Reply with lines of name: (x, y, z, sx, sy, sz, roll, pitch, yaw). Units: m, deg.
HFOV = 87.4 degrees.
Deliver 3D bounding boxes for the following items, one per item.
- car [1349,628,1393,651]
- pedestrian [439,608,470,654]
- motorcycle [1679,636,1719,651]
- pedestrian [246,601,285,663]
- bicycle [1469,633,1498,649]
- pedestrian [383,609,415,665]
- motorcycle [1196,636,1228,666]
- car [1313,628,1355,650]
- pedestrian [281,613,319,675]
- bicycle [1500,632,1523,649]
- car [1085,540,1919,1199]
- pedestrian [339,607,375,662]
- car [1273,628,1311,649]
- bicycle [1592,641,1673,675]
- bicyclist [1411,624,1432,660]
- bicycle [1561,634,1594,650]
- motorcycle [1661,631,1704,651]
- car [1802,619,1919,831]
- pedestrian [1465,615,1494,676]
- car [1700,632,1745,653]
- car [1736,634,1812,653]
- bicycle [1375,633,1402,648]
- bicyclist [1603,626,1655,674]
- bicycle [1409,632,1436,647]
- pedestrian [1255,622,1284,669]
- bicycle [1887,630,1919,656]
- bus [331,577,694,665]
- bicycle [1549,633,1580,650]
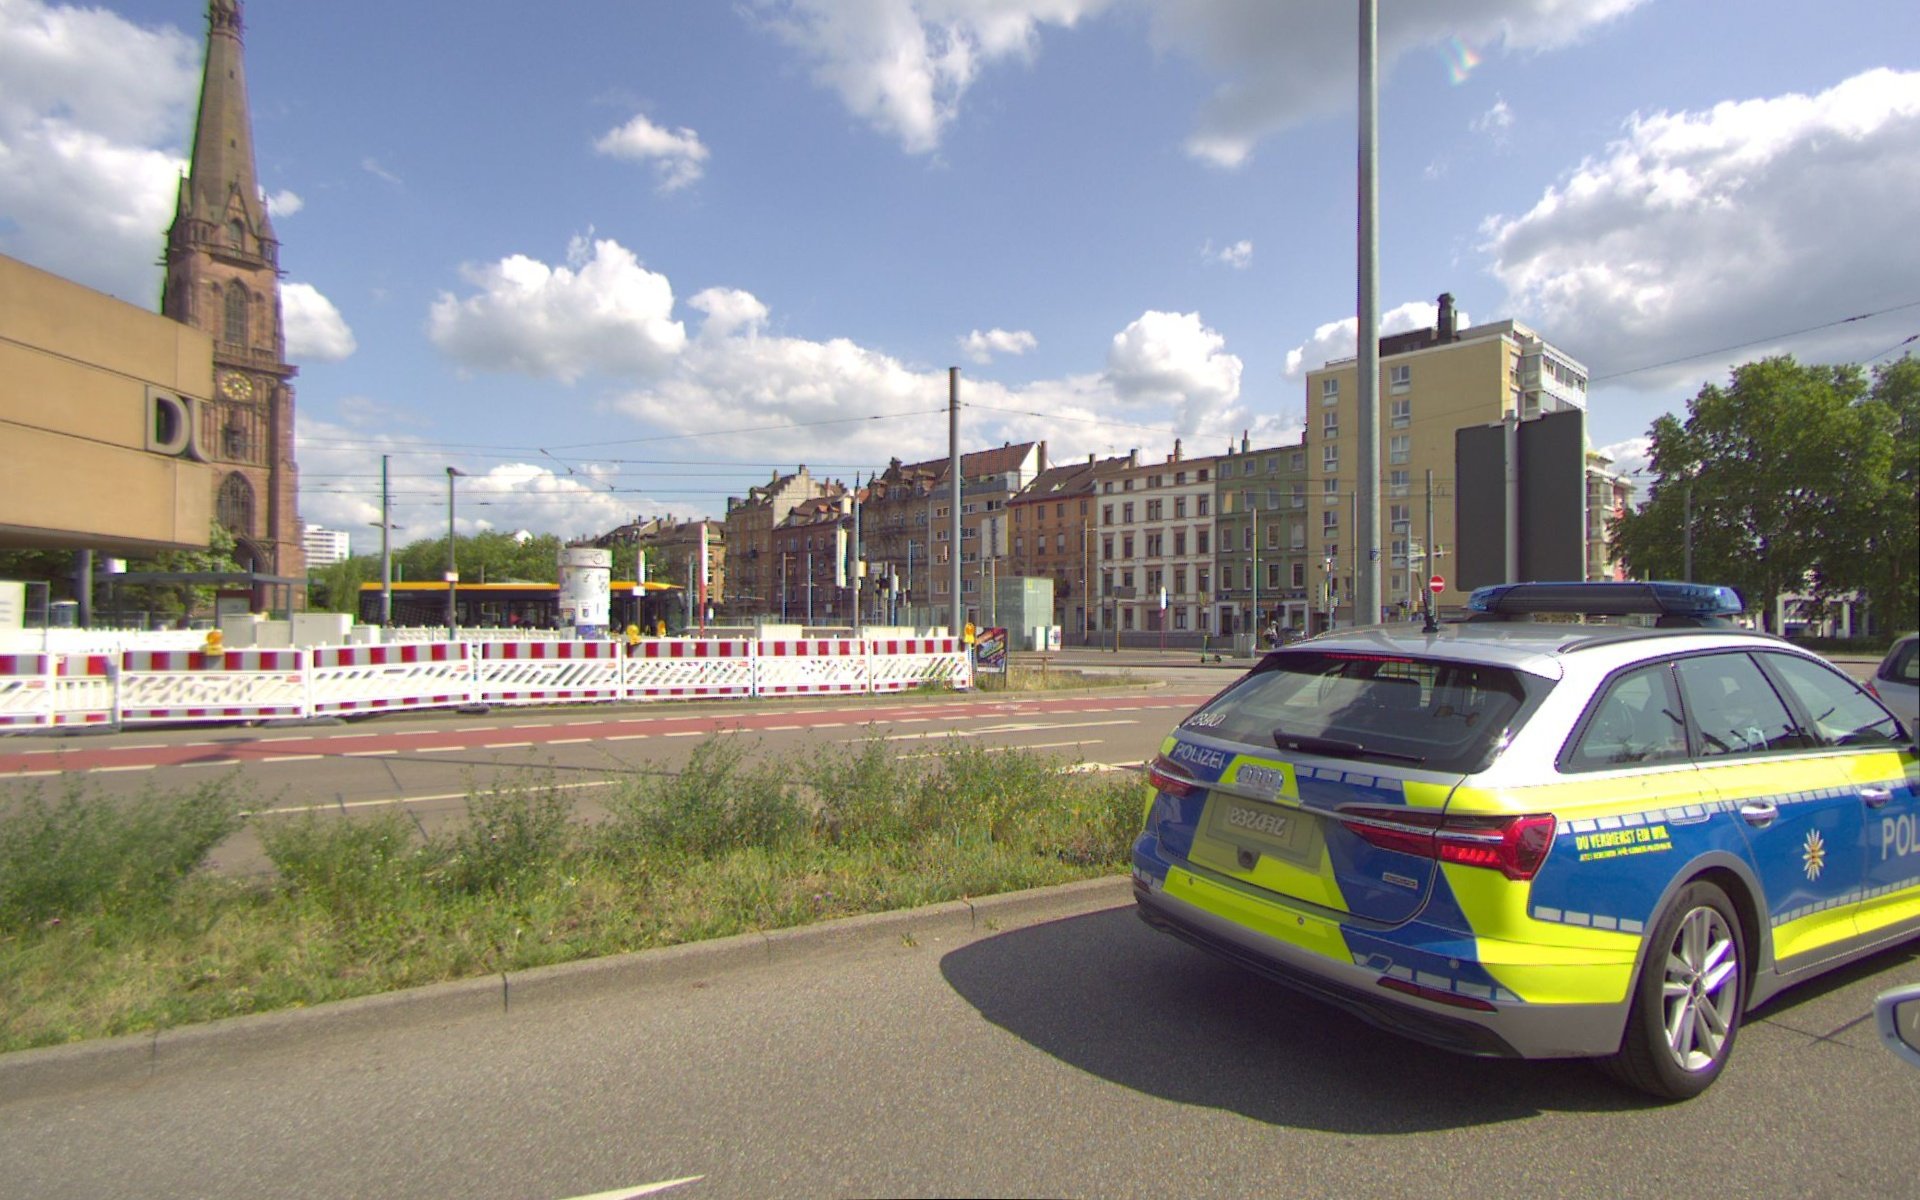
car: (29.682, 2.863, 72.585, 1.861, 1.516, 3.903, 1, -2, 5)
pedestrian: (-18.113, 1.108, 35.983, 0.751, 1.653, 0.652, 1, -1, -4)
motorcycle: (50.426, 2.972, 68.566, 2.003, 0.929, 0.812, -1, -1, 7)
pedestrian: (-18.960, 0.874, 27.438, 0.549, 1.651, 0.732, 1, -1, -7)
bicycle: (38.608, 3.011, 74.043, 1.783, 1.118, 0.792, 0, -1, 42)
pedestrian: (-16.696, 1.096, 29.891, 0.642, 1.653, 0.763, 1, -1, -17)
motorcycle: (10.616, 2.134, 42.334, 0.478, 1.253, 1.437, 2, -2, -27)
car: (27.327, 2.848, 73.556, 1.861, 1.516, 3.902, 1, -2, 4)
pedestrian: (-17.957, 1.180, 27.312, 0.760, 1.653, 0.645, 2, -1, -41)
bicycle: (40.711, 2.976, 74.104, 1.791, 1.275, 0.789, 1, -1, -34)
car: (2.918, 0.716, 4.318, 4.561, 1.589, 1.871, 1, -2, -31)
pedestrian: (-18.342, 1.056, 30.587, 0.640, 1.653, 0.765, 1, -1, -6)
car: (25.144, 2.913, 76.214, 1.861, 1.516, 3.902, 1, -2, 4)
bicycle: (24.656, 2.104, 36.872, 0.984, 1.204, 2.281, 2, -3, -32)
bicyclist: (24.472, 2.216, 53.255, 0.768, 1.821, 0.706, 2, 0, 42)
bicycle: (44.788, 3.027, 72.827, 1.922, 1.162, 0.792, -1, -1, 43)
motorcycle: (46.847, 2.660, 65.157, 0.890, 1.254, 2.214, 0, -1, -12)
car: (8.580, 0.918, 7.868, 3.953, 1.494, 1.839, 1, -2, -30)
pedestrian: (16.893, 1.466, 32.664, 0.753, 1.928, 0.825, 2, 0, 29)
car: (55.420, 3.109, 73.014, 3.970, 1.432, 1.888, 4, -4, -42)
car: (59.029, 3.174, 72.895, 1.615, 1.344, 3.967, 3, -3, -31)
bicycle: (33.775, 3.198, 79.234, 1.783, 1.118, 0.792, 0, -1, 42)
bicyclist: (24.617, 1.836, 36.955, 0.984, 1.753, 1.290, 2, -2, -32)
bicycle: (35.637, 3.028, 77.370, 1.783, 1.118, 0.792, 0, -1, 42)
pedestrian: (12.265, 1.781, 39.818, 0.755, 1.821, 1.024, 2, 0, 37)
bicycle: (54.446, 2.442, 57.373, 0.807, 1.433, 2.146, 0, 0, -44)
bus: (-16.851, 0.807, 38.359, 12.585, 3.177, 2.835, 0, -1, 1)
bicycle: (43.550, 2.973, 72.407, 1.784, 1.162, 0.792, 0, -1, 43)
